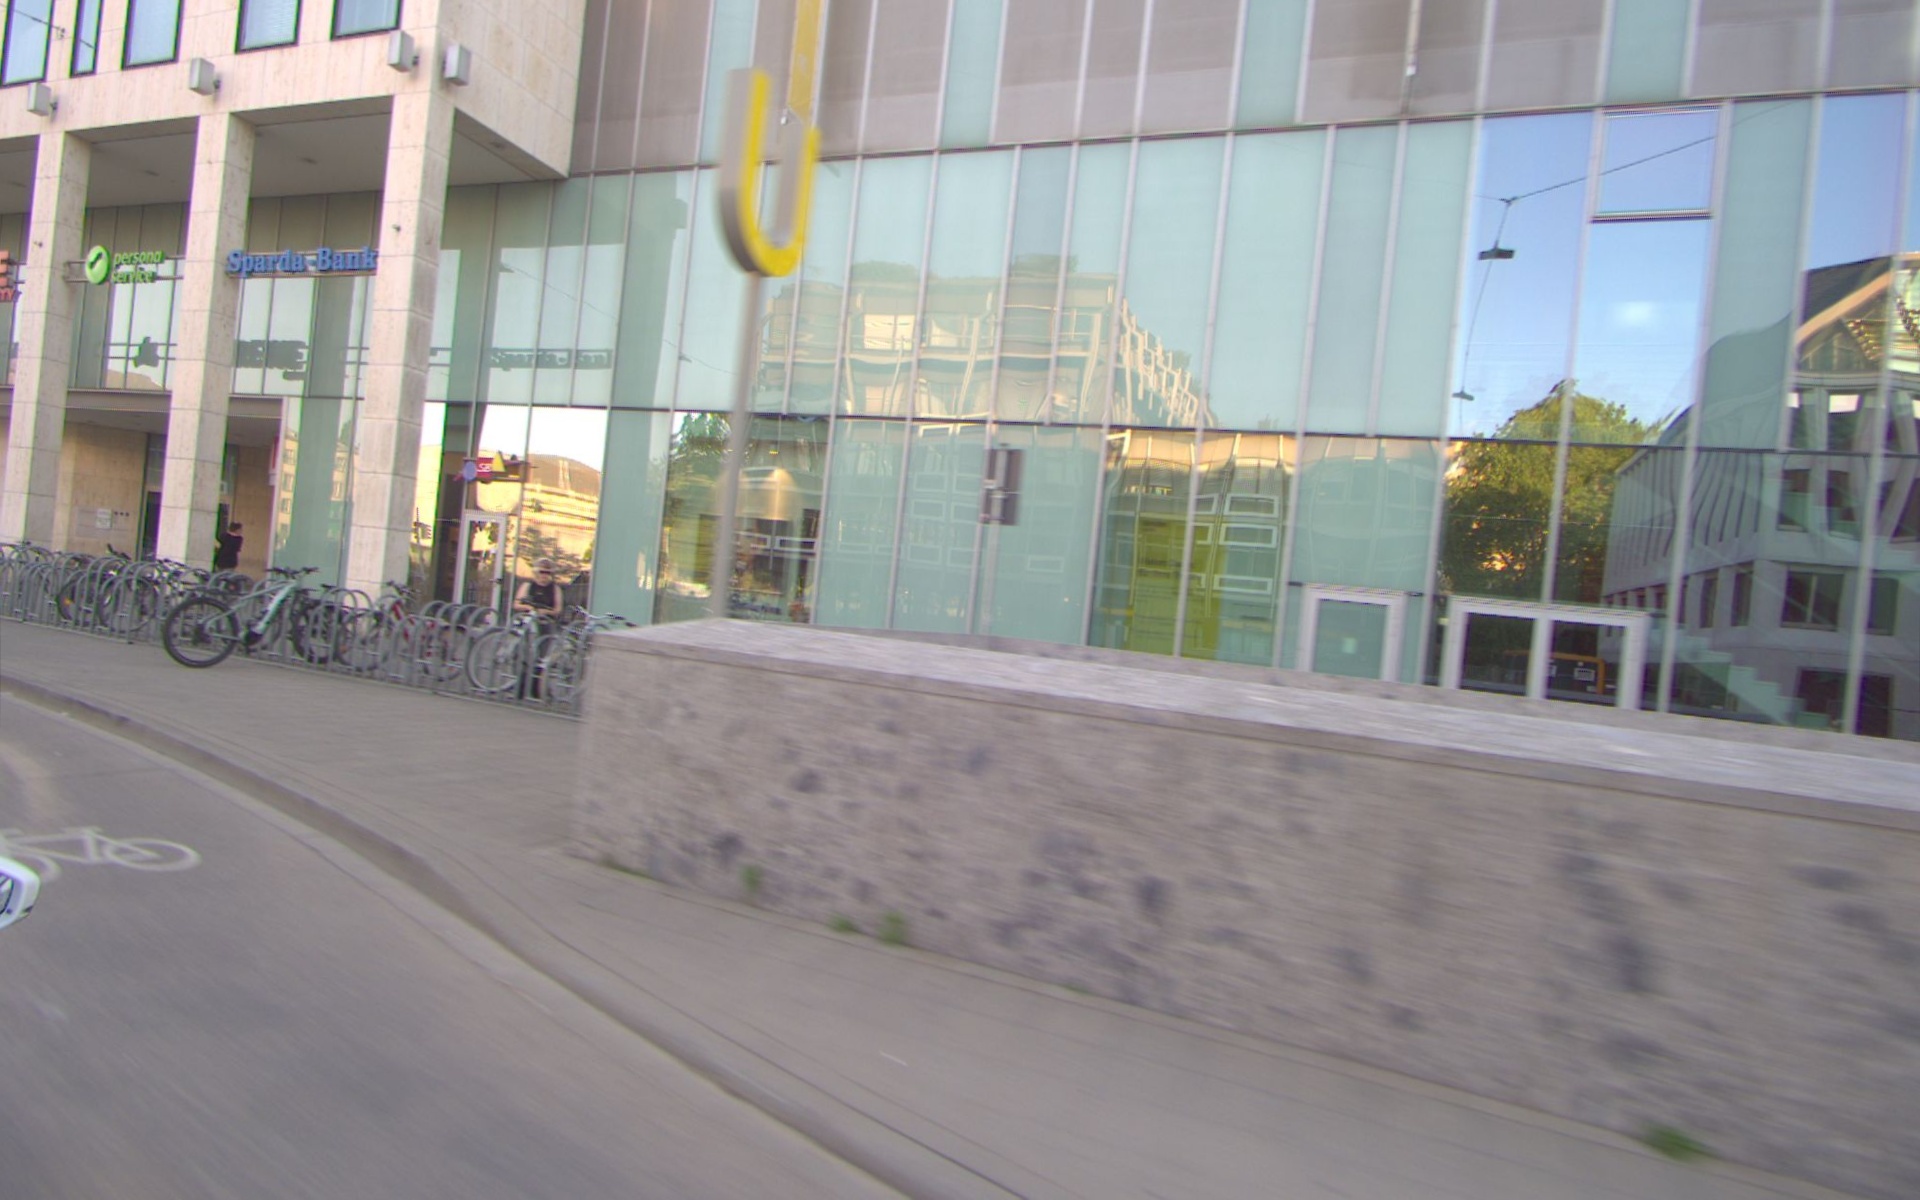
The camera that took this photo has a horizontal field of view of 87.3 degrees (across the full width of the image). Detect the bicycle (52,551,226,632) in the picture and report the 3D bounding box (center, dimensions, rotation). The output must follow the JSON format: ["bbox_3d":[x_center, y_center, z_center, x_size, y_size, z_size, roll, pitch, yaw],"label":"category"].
[{"bbox_3d":[-10.971,-0.081,13.518,0.507,0.948,1.744,6,0,19],"label":"bicycle"}]

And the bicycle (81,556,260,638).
[{"bbox_3d":[-10.383,-0.009,13.319,0.507,0.948,1.814,6,0,19],"label":"bicycle"}]

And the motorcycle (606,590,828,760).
[{"bbox_3d":[-2.234,0.683,9.686,0.890,1.349,2.306,6,-1,18],"label":"motorcycle"}]

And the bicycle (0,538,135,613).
[{"bbox_3d":[-13.892,-0.354,15.571,0.589,1.036,1.709,6,0,10],"label":"bicycle"}]

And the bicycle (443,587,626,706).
[{"bbox_3d":[-4.774,0.540,11.451,0.507,1.193,1.993,6,0,25],"label":"bicycle"}]

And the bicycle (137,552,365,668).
[{"bbox_3d":[-7.825,0.155,11.227,0.560,1.143,1.993,6,0,25],"label":"bicycle"}]

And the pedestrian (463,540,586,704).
[{"bbox_3d":[-5.008,0.260,11.603,0.805,1.757,0.837,6,0,28],"label":"pedestrian"}]

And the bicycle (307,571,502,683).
[{"bbox_3d":[-6.596,0.370,12.080,0.546,1.142,1.995,6,-3,25],"label":"bicycle"}]

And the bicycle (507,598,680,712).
[{"bbox_3d":[-4.134,0.635,11.531,0.507,1.143,1.993,6,0,25],"label":"bicycle"}]

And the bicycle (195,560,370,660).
[{"bbox_3d":[-8.530,0.164,12.758,0.507,1.143,1.770,6,0,23],"label":"bicycle"}]

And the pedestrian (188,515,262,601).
[{"bbox_3d":[-16.578,-0.943,22.692,0.972,1.800,0.863,6,2,19],"label":"pedestrian"}]
